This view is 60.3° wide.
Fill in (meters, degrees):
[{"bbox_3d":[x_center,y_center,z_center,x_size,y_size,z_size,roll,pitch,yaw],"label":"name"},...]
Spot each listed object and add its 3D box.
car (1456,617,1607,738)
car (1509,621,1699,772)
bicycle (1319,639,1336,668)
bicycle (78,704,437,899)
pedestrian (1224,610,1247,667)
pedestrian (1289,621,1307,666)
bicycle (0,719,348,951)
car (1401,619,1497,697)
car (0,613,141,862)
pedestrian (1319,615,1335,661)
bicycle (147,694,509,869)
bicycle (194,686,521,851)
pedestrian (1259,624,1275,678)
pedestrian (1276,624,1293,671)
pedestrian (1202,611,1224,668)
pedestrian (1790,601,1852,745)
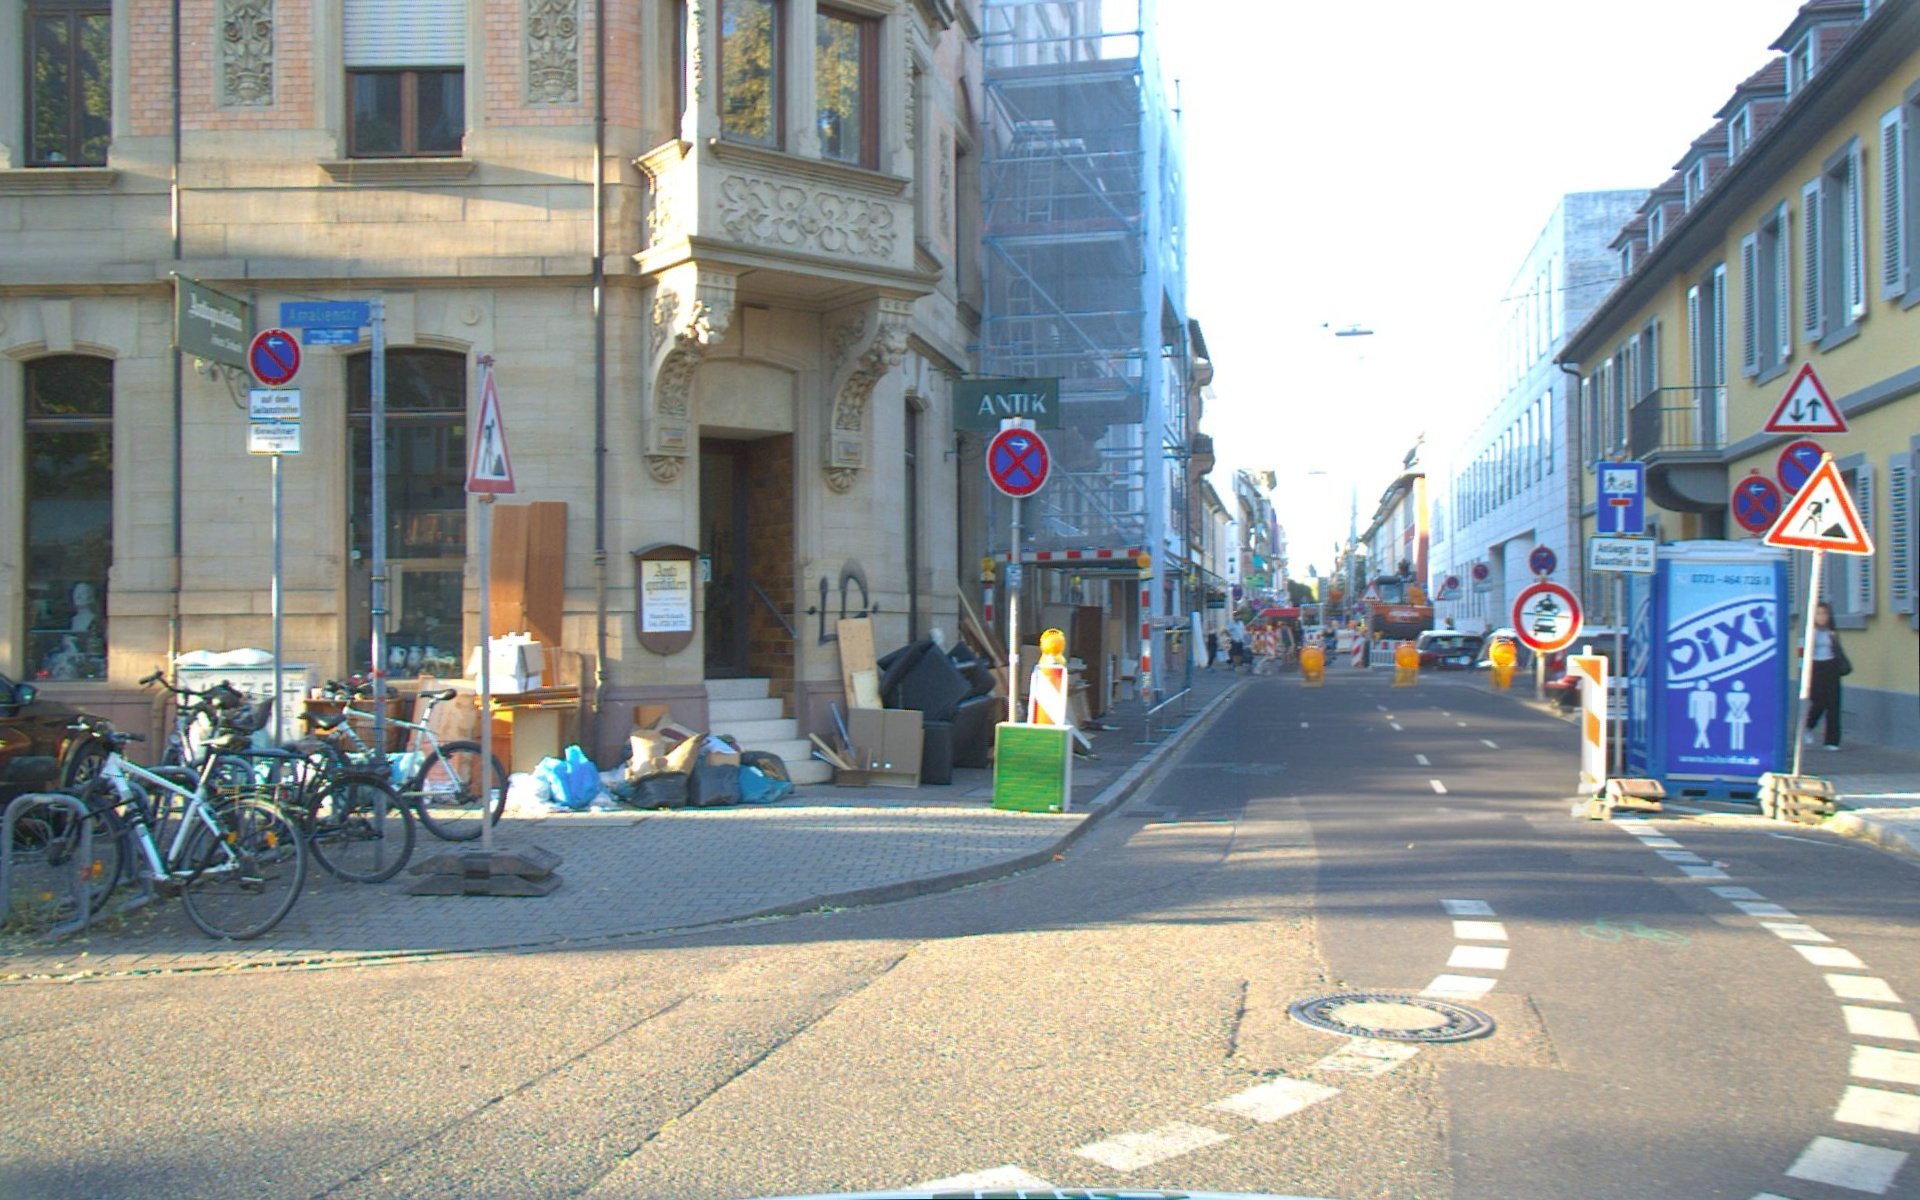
[{"bbox_3d":[7.978,1.031,23.353,1.507,1.547,3.982,-1,-1,12],"label":"car"},{"bbox_3d":[7.252,1.021,18.877,1.507,1.547,3.224,1,-1,12],"label":"car"},{"bbox_3d":[12.029,1.748,54.207,0.494,0.899,1.478,-1,-1,11],"label":"bicycle"},{"bbox_3d":[-4.009,1.141,9.516,1.788,1.031,0.640,-1,-1,0],"label":"bicycle"},{"bbox_3d":[8.811,1.238,52.929,0.499,1.795,0.507,0,-1,-29],"label":"pedestrian"},{"bbox_3d":[11.103,1.427,54.325,0.494,1.487,0.513,-1,-1,18],"label":"pedestrian"},{"bbox_3d":[-4.045,1.149,8.236,1.788,1.065,0.572,-1,-1,4],"label":"bicycle"},{"bbox_3d":[10.300,1.193,35.034,1.681,1.547,3.224,-1,-1,12],"label":"car"},{"bbox_3d":[-7.022,0.908,9.864,1.865,1.537,4.543,-1,1,2],"label":"car"},{"bbox_3d":[12.010,1.229,54.162,0.494,1.487,0.513,-1,-1,13],"label":"pedestrian"},{"bbox_3d":[-4.004,1.144,10.570,2.060,1.031,0.640,-1,-1,0],"label":"bicycle"},{"bbox_3d":[-4.103,1.142,11.314,2.060,1.058,0.465,-1,-1,0],"label":"bicycle"},{"bbox_3d":[9.166,1.519,49.418,0.336,1.594,0.419,-1,-2,34],"label":"pedestrian"},{"bbox_3d":[10.256,1.499,52.212,0.494,1.487,0.513,-1,-1,12],"label":"pedestrian"},{"bbox_3d":[7.909,1.234,51.685,0.661,1.763,0.700,0,-2,9],"label":"pedestrian"},{"bbox_3d":[9.900,0.828,19.036,0.457,1.623,0.673,-1,-1,14],"label":"pedestrian"}]
